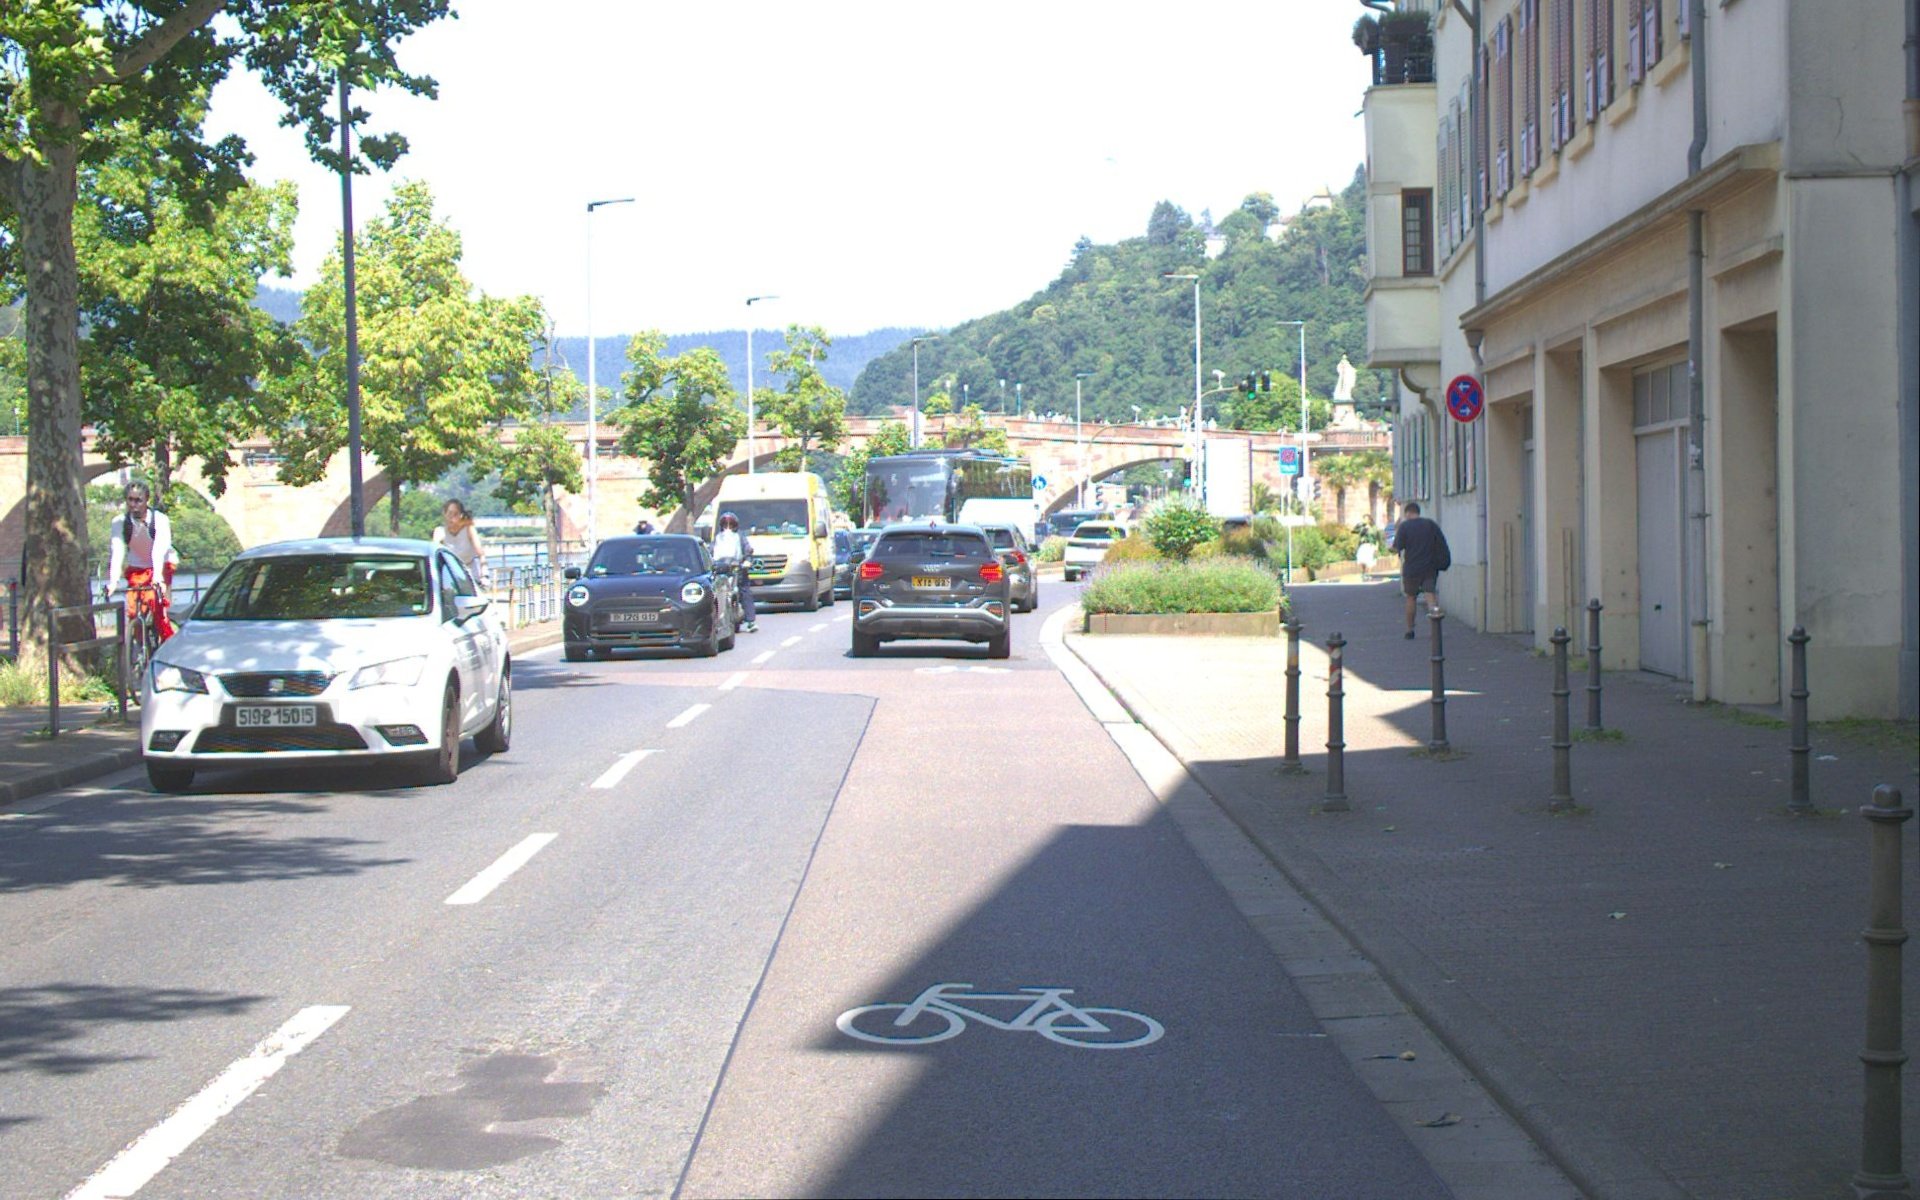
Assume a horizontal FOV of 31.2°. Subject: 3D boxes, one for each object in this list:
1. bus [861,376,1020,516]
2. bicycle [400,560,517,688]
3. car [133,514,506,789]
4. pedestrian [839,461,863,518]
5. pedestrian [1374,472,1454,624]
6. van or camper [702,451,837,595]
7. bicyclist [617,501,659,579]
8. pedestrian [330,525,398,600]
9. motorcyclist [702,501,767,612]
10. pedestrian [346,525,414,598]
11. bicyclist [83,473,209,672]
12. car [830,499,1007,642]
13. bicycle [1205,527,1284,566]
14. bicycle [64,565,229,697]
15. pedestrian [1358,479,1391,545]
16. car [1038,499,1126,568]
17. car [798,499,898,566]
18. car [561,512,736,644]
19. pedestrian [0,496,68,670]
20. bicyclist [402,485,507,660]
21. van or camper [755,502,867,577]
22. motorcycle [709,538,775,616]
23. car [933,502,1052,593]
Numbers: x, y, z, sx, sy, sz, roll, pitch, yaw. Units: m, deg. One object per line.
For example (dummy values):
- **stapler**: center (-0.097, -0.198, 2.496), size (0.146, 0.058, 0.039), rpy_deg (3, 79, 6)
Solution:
- **bus**: center (-0.412, -4.250, 97.904), size (2.632, 3.552, 12.979), rpy_deg (-1, 1, 8)
- **bicycle**: center (-4.506, 0.198, 31.003), size (0.740, 1.073, 1.953), rpy_deg (0, 2, 1)
- **car**: center (-3.821, 0.236, 21.134), size (1.701, 1.440, 4.092), rpy_deg (0, 3, -3)
- **pedestrian**: center (-3.395, -3.441, 107.342), size (0.620, 1.774, 0.662), rpy_deg (-1, 1, 7)
- **pedestrian**: center (5.298, -0.605, 40.148), size (0.762, 1.707, 0.696), rpy_deg (-4, 1, 3)
- **van or camper**: center (-3.522, -1.458, 64.969), size (2.087, 2.548, 7.092), rpy_deg (-1, 1, 0)
- **bicyclist**: center (-6.994, -1.314, 74.692), size (0.740, 1.662, 1.089), rpy_deg (-1, 2, 1)
- **pedestrian**: center (-10.415, -0.663, 60.122), size (0.937, 1.276, 0.849), rpy_deg (-1, 1, 8)
- **motorcyclist**: center (-3.255, -0.631, 49.714), size (0.878, 1.578, 1.025), rpy_deg (-1, 1, -2)
- **pedestrian**: center (-10.290, -0.685, 61.026), size (0.937, 1.276, 0.849), rpy_deg (-1, 1, 8)
- **bicyclist**: center (-6.640, -0.233, 28.086), size (0.719, 1.578, 1.089), rpy_deg (-1, 1, 1)
- **car**: center (-0.462, -0.348, 39.953), size (1.926, 1.548, 4.832), rpy_deg (0, 1, 0)
- **bicycle**: center (6.633, -1.253, 80.265), size (1.810, 0.875, 0.502), rpy_deg (1, 2, 4)
- **bicycle**: center (-6.619, 0.238, 28.068), size (0.754, 0.975, 1.953), rpy_deg (-1, 2, 3)
- **pedestrian**: center (10.007, -2.123, 83.031), size (0.762, 1.589, 0.696), rpy_deg (-1, 1, 7)
- **car**: center (3.001, -1.647, 83.810), size (1.927, 1.548, 4.831), rpy_deg (-2, 1, 4)
- **car**: center (-2.593, -1.607, 80.701), size (1.814, 1.423, 4.310), rpy_deg (-3, 2, 5)
- **car**: center (-3.665, -0.293, 41.028), size (1.701, 1.453, 4.002), rpy_deg (-2, 1, 0)
- **pedestrian**: center (-9.219, -0.177, 33.804), size (0.656, 1.676, 0.758), rpy_deg (1, 1, 0)
- **bicyclist**: center (-4.542, -0.260, 30.937), size (0.766, 1.526, 1.025), rpy_deg (0, 3, 1)
- **van or camper**: center (-3.139, -1.306, 73.400), size (1.993, 1.449, 4.683), rpy_deg (-3, 1, 2)
- **motorcycle**: center (-3.161, -0.339, 49.697), size (0.883, 1.073, 2.328), rpy_deg (-2, 1, -4)
- **car**: center (0.573, -0.927, 59.023), size (1.926, 1.456, 4.832), rpy_deg (-1, 2, 1)
